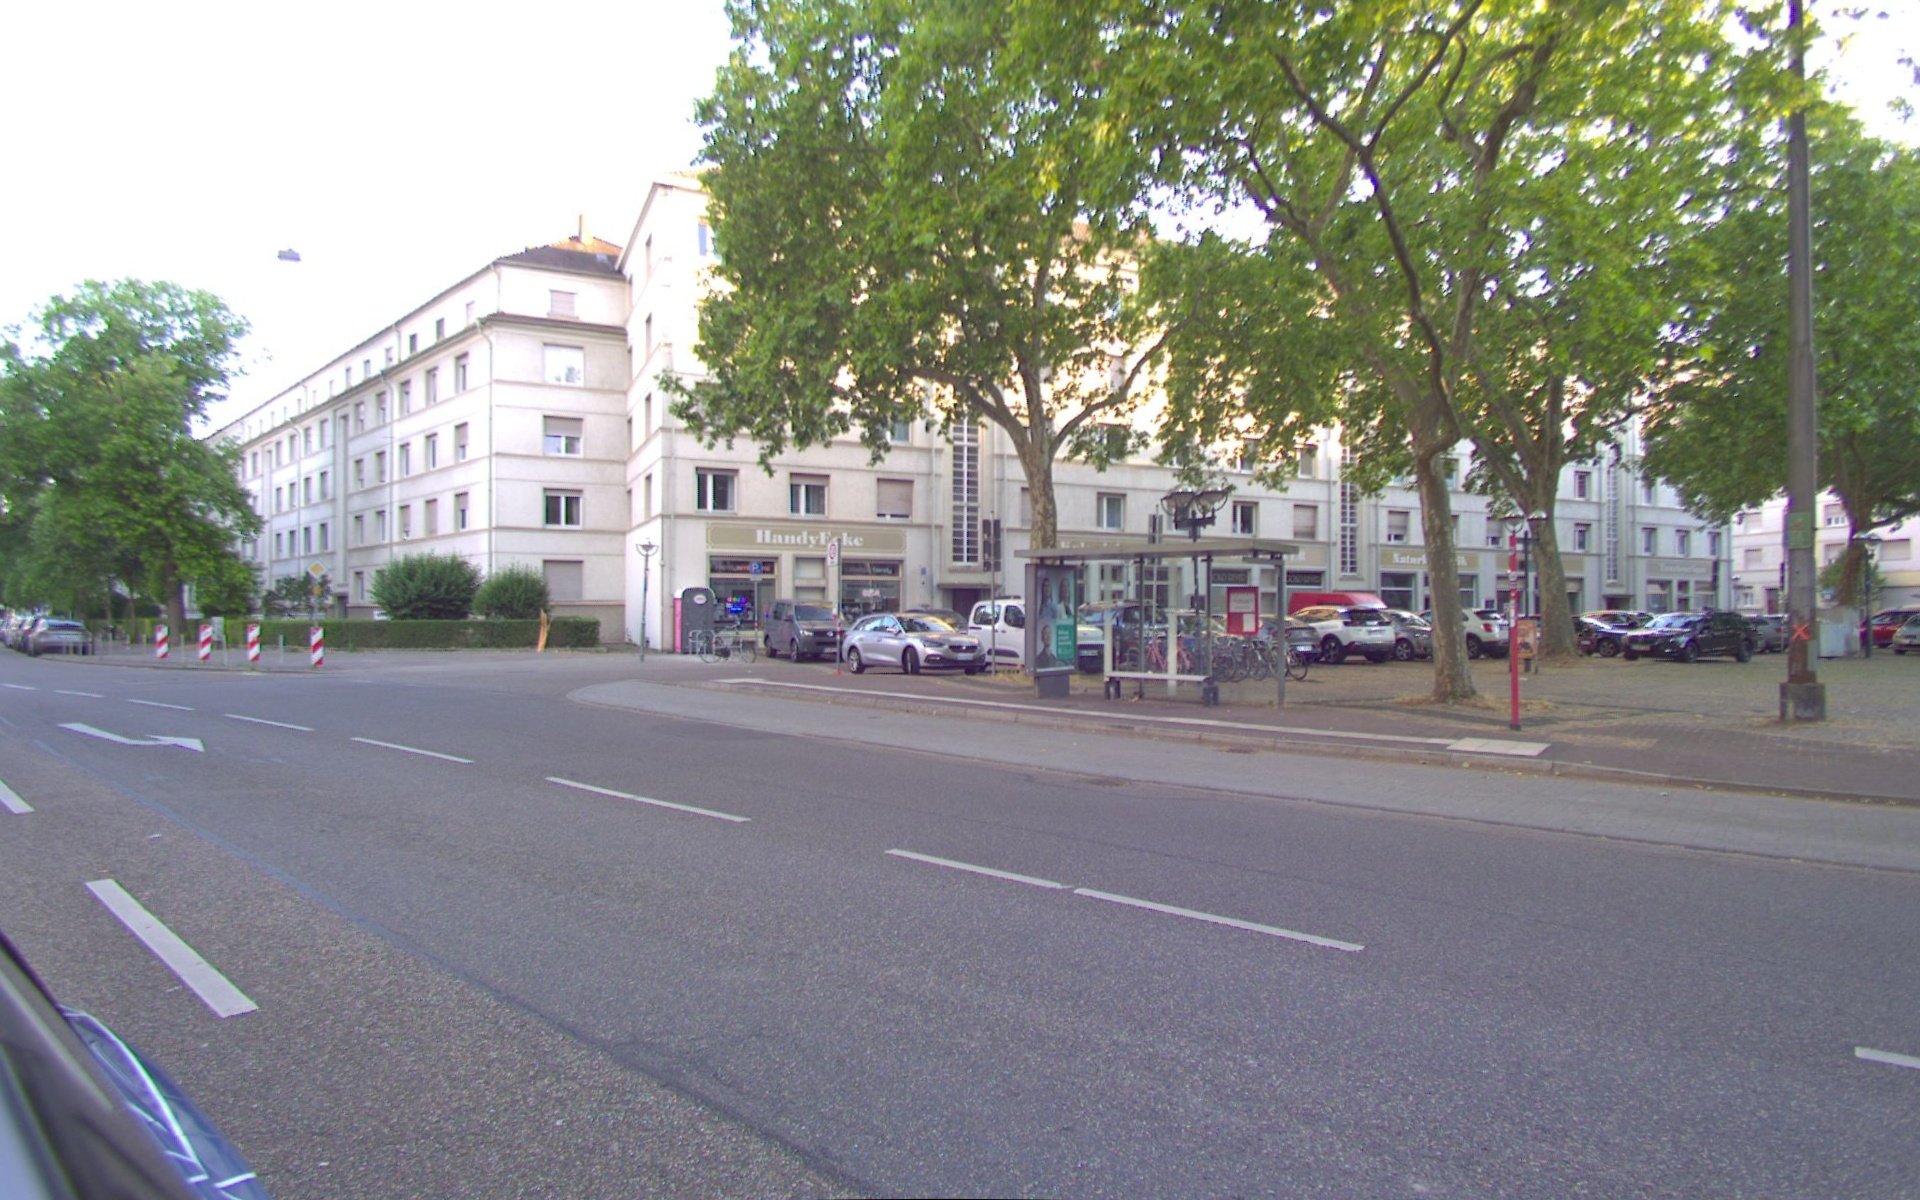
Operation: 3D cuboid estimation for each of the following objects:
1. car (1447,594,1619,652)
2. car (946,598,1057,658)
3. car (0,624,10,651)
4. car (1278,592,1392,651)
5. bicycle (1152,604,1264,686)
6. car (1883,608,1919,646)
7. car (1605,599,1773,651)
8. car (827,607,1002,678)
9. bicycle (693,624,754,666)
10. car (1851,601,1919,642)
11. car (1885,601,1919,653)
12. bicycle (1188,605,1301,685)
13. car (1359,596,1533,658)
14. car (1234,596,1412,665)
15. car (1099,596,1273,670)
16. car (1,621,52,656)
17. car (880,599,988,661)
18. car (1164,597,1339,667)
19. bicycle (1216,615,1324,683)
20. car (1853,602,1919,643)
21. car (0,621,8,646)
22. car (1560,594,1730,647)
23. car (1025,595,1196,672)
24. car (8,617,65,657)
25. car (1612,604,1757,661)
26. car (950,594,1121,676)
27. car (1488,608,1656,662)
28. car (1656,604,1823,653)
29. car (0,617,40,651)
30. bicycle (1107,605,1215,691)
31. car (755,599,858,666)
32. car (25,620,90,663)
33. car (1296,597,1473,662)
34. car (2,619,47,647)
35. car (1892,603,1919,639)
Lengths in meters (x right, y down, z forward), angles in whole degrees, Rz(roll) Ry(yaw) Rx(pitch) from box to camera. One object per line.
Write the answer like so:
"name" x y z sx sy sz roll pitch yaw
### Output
"car" 19.181 0.845 34.110 1.965 1.795 4.655 1 -3 -28
"car" 1.418 0.965 36.600 1.965 1.970 4.656 1 0 -26
"car" -69.971 2.707 73.161 1.866 1.840 4.263 -1 0 -44
"car" 16.647 0.915 45.185 1.965 2.460 4.656 1 0 -26
"bicycle" 5.235 0.909 21.643 0.795 1.626 2.754 0 0 -24
"car" 45.722 1.211 46.510 1.969 1.748 4.648 2 -4 -40
"car" 27.081 0.998 37.767 1.965 1.795 4.655 1 -3 -28
"car" -1.194 1.023 23.891 1.967 1.515 4.652 2 -3 -35
"bicycle" -7.171 1.343 30.659 1.776 1.215 0.649 0 0 -16
"car" 43.341 0.969 45.473 1.968 1.824 4.658 2 -4 -38
"car" 33.073 0.886 33.888 3.696 1.674 1.680 0 0 -23
"bicycle" 6.174 0.928 22.159 0.795 1.626 2.754 0 0 -24
"car" 15.171 0.917 31.876 1.965 1.795 4.655 1 -3 -28
"car" 10.259 0.916 28.992 1.965 1.795 4.655 1 -3 -28
"car" 5.920 0.934 27.123 1.965 1.795 4.655 1 -3 -28
"car" -48.544 1.967 52.617 1.866 1.612 4.263 -1 0 -44
"car" -0.991 0.987 35.415 1.965 1.970 4.656 1 0 -26
"car" 7.974 0.934 28.206 1.965 1.795 4.655 1 -3 -28
"bicycle" 6.885 1.048 22.673 0.680 1.394 2.754 0 0 -24
"car" 41.790 0.976 43.637 1.969 1.748 4.648 2 -4 -40
"car" -76.320 2.647 79.739 1.866 1.879 4.263 -1 0 -44
"car" 24.739 0.801 36.753 2.057 1.795 4.655 1 -3 -28
"car" 3.764 0.909 26.219 1.965 1.795 4.655 1 -3 -28
"car" -43.340 1.712 47.450 1.866 1.703 4.263 -1 0 -44
"car" 20.750 0.909 28.982 3.696 1.540 1.680 1 0 -23
"car" 1.720 0.889 24.760 1.965 1.795 4.655 1 -3 -28
"car" 21.363 1.274 35.570 1.965 1.748 4.655 1 -3 -28
"car" 29.860 1.156 38.951 1.965 1.748 4.655 1 -3 -28
"car" -52.883 1.881 56.699 1.866 1.787 4.263 -1 0 -44
"bicycle" 4.057 0.921 20.715 0.680 1.626 2.754 0 0 -24
"car" -5.092 0.986 33.069 1.965 1.970 4.656 1 0 -26
"car" -37.507 1.674 42.030 1.867 1.612 4.003 -1 0 -44
"car" 12.600 0.937 30.375 1.965 1.795 4.655 1 -3 -28
"car" -56.437 1.970 61.034 1.866 1.613 4.263 3 -2 -44
"car" 47.666 0.977 48.166 1.969 1.748 4.648 2 -4 -40
